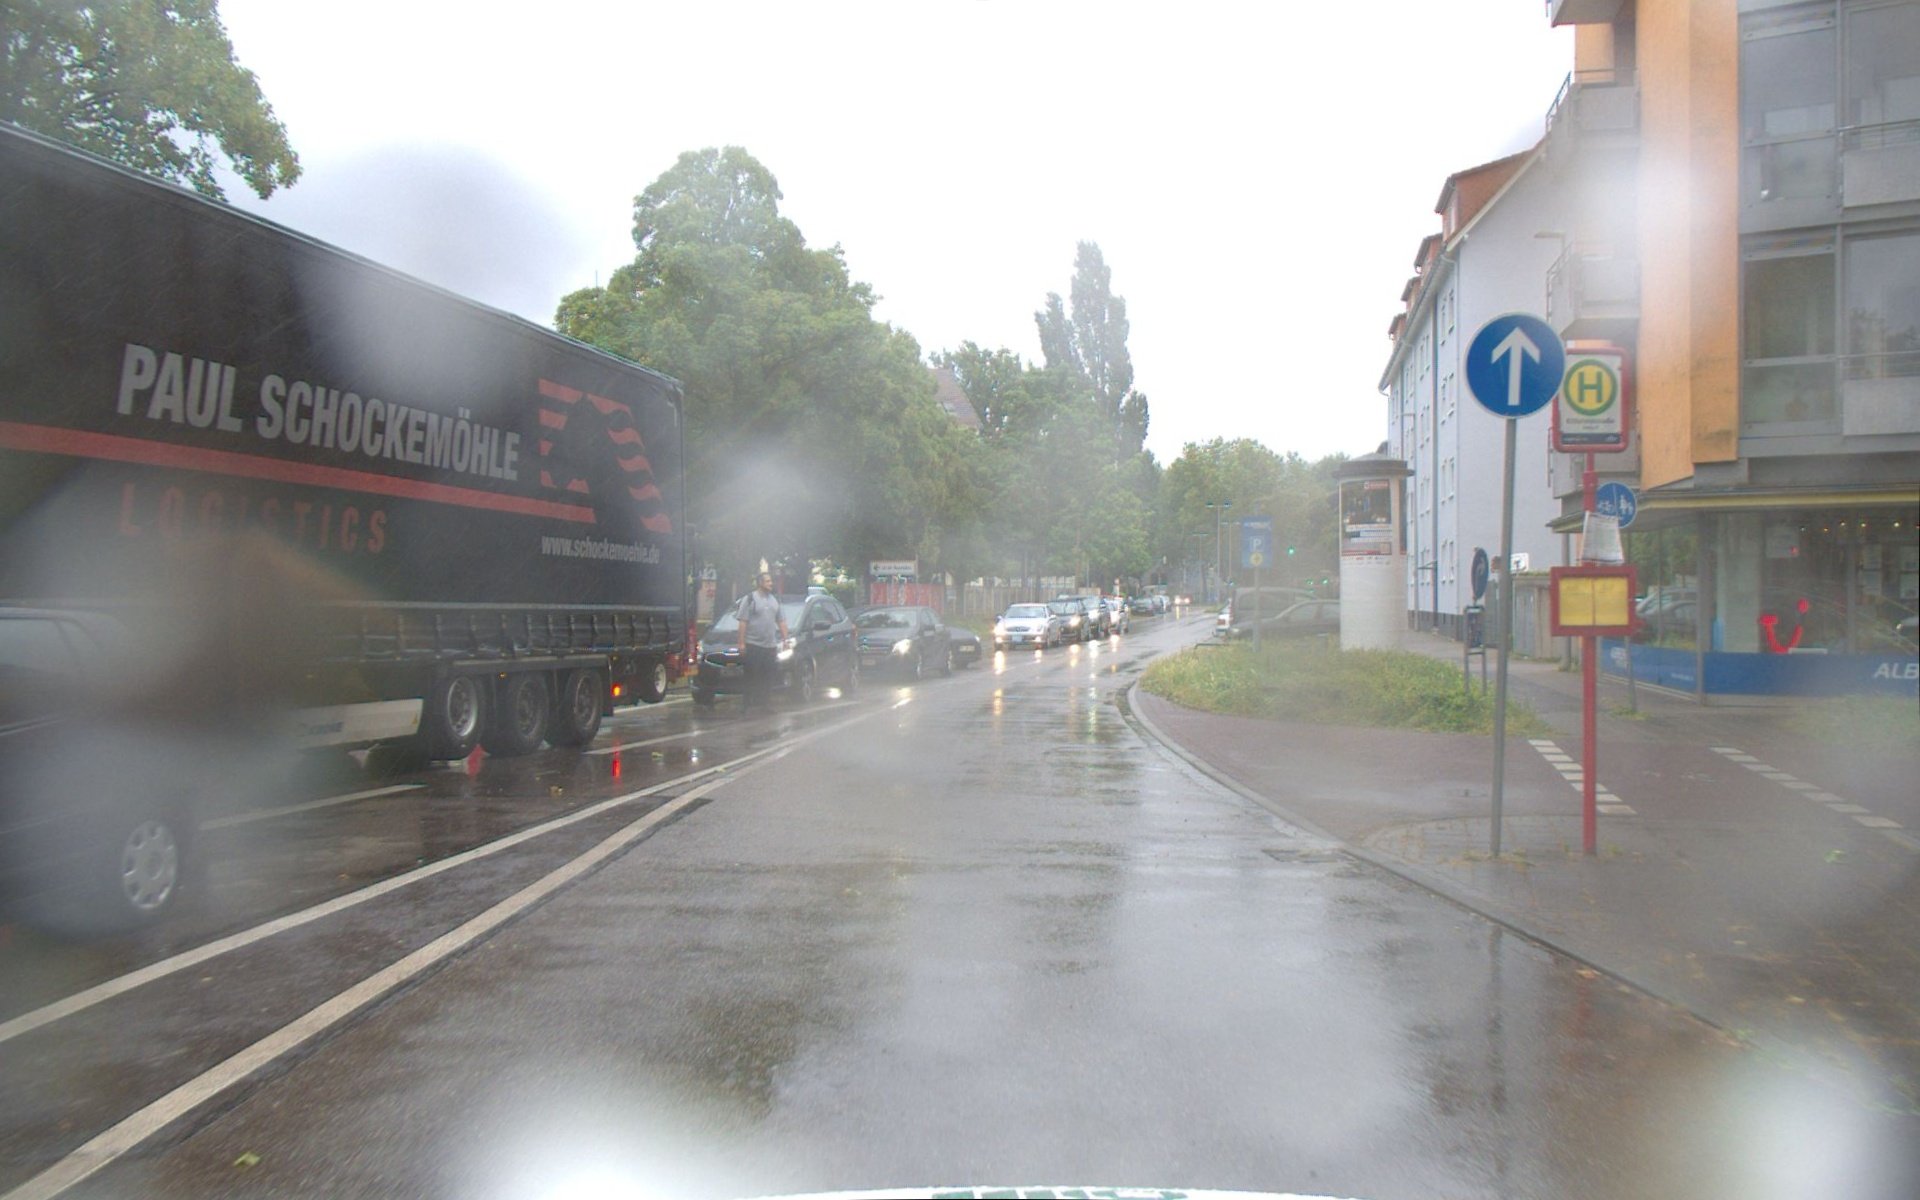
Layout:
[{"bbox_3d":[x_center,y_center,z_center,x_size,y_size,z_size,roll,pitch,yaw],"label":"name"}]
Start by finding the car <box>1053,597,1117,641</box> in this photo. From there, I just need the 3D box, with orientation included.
[{"bbox_3d":[5.065,0.733,66.423,1.873,1.668,4.825,1,0,12],"label":"car"}]

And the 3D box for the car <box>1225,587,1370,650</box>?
[{"bbox_3d":[10.101,0.553,49.809,4.141,1.837,1.946,-1,-1,8],"label":"car"}]

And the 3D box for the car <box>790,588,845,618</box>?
[{"bbox_3d":[-7.892,0.167,91.236,1.821,1.600,3.970,1,-1,-24],"label":"car"}]

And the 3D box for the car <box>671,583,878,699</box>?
[{"bbox_3d":[-2.797,0.663,26.221,1.827,1.648,4.806,0,-2,12],"label":"car"}]

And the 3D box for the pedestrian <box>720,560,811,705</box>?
[{"bbox_3d":[-2.595,0.416,22.044,0.861,1.876,0.980,0,0,-34],"label":"pedestrian"}]

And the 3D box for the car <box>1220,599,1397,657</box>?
[{"bbox_3d":[9.107,0.734,43.426,4.436,1.496,1.985,0,-1,11],"label":"car"}]

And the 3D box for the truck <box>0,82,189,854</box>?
[{"bbox_3d":[-7.190,-0.713,7.308,3.376,4.150,6.980,0,0,11],"label":"truck"}]

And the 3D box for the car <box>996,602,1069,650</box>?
[{"bbox_3d":[2.361,0.812,52.581,1.737,1.428,4.834,1,0,9],"label":"car"}]

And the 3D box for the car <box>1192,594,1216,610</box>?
[{"bbox_3d":[30.079,0.242,203.824,1.956,2.049,3.993,0,0,-8],"label":"car"}]

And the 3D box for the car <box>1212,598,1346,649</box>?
[{"bbox_3d":[10.075,0.735,52.416,4.100,1.596,1.890,0,0,9],"label":"car"}]

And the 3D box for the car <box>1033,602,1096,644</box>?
[{"bbox_3d":[3.805,0.807,59.689,1.741,1.445,4.269,0,0,11],"label":"car"}]

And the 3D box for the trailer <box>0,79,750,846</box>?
[{"bbox_3d":[-5.818,-0.751,14.178,3.368,4.120,15.063,0,0,11],"label":"trailer"}]

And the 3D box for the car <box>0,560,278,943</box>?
[{"bbox_3d":[-4.347,0.551,5.951,1.662,1.397,4.103,0,0,8],"label":"car"}]

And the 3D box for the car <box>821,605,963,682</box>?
[{"bbox_3d":[-1.257,0.808,32.500,1.689,1.385,4.341,-1,0,13],"label":"car"}]

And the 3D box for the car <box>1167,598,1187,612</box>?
[{"bbox_3d":[27.085,0.623,206.333,1.706,1.718,3.996,1,0,-4],"label":"car"}]

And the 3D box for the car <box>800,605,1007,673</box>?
[{"bbox_3d":[-1.378,0.865,38.605,4.844,1.479,2.072,0,0,44],"label":"car"}]

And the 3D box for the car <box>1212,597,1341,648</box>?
[{"bbox_3d":[10.499,0.734,54.998,4.092,1.599,1.892,1,0,10],"label":"car"}]

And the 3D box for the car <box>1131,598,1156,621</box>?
[{"bbox_3d":[13.661,0.727,123.357,1.738,1.556,4.003,1,2,4],"label":"car"}]
